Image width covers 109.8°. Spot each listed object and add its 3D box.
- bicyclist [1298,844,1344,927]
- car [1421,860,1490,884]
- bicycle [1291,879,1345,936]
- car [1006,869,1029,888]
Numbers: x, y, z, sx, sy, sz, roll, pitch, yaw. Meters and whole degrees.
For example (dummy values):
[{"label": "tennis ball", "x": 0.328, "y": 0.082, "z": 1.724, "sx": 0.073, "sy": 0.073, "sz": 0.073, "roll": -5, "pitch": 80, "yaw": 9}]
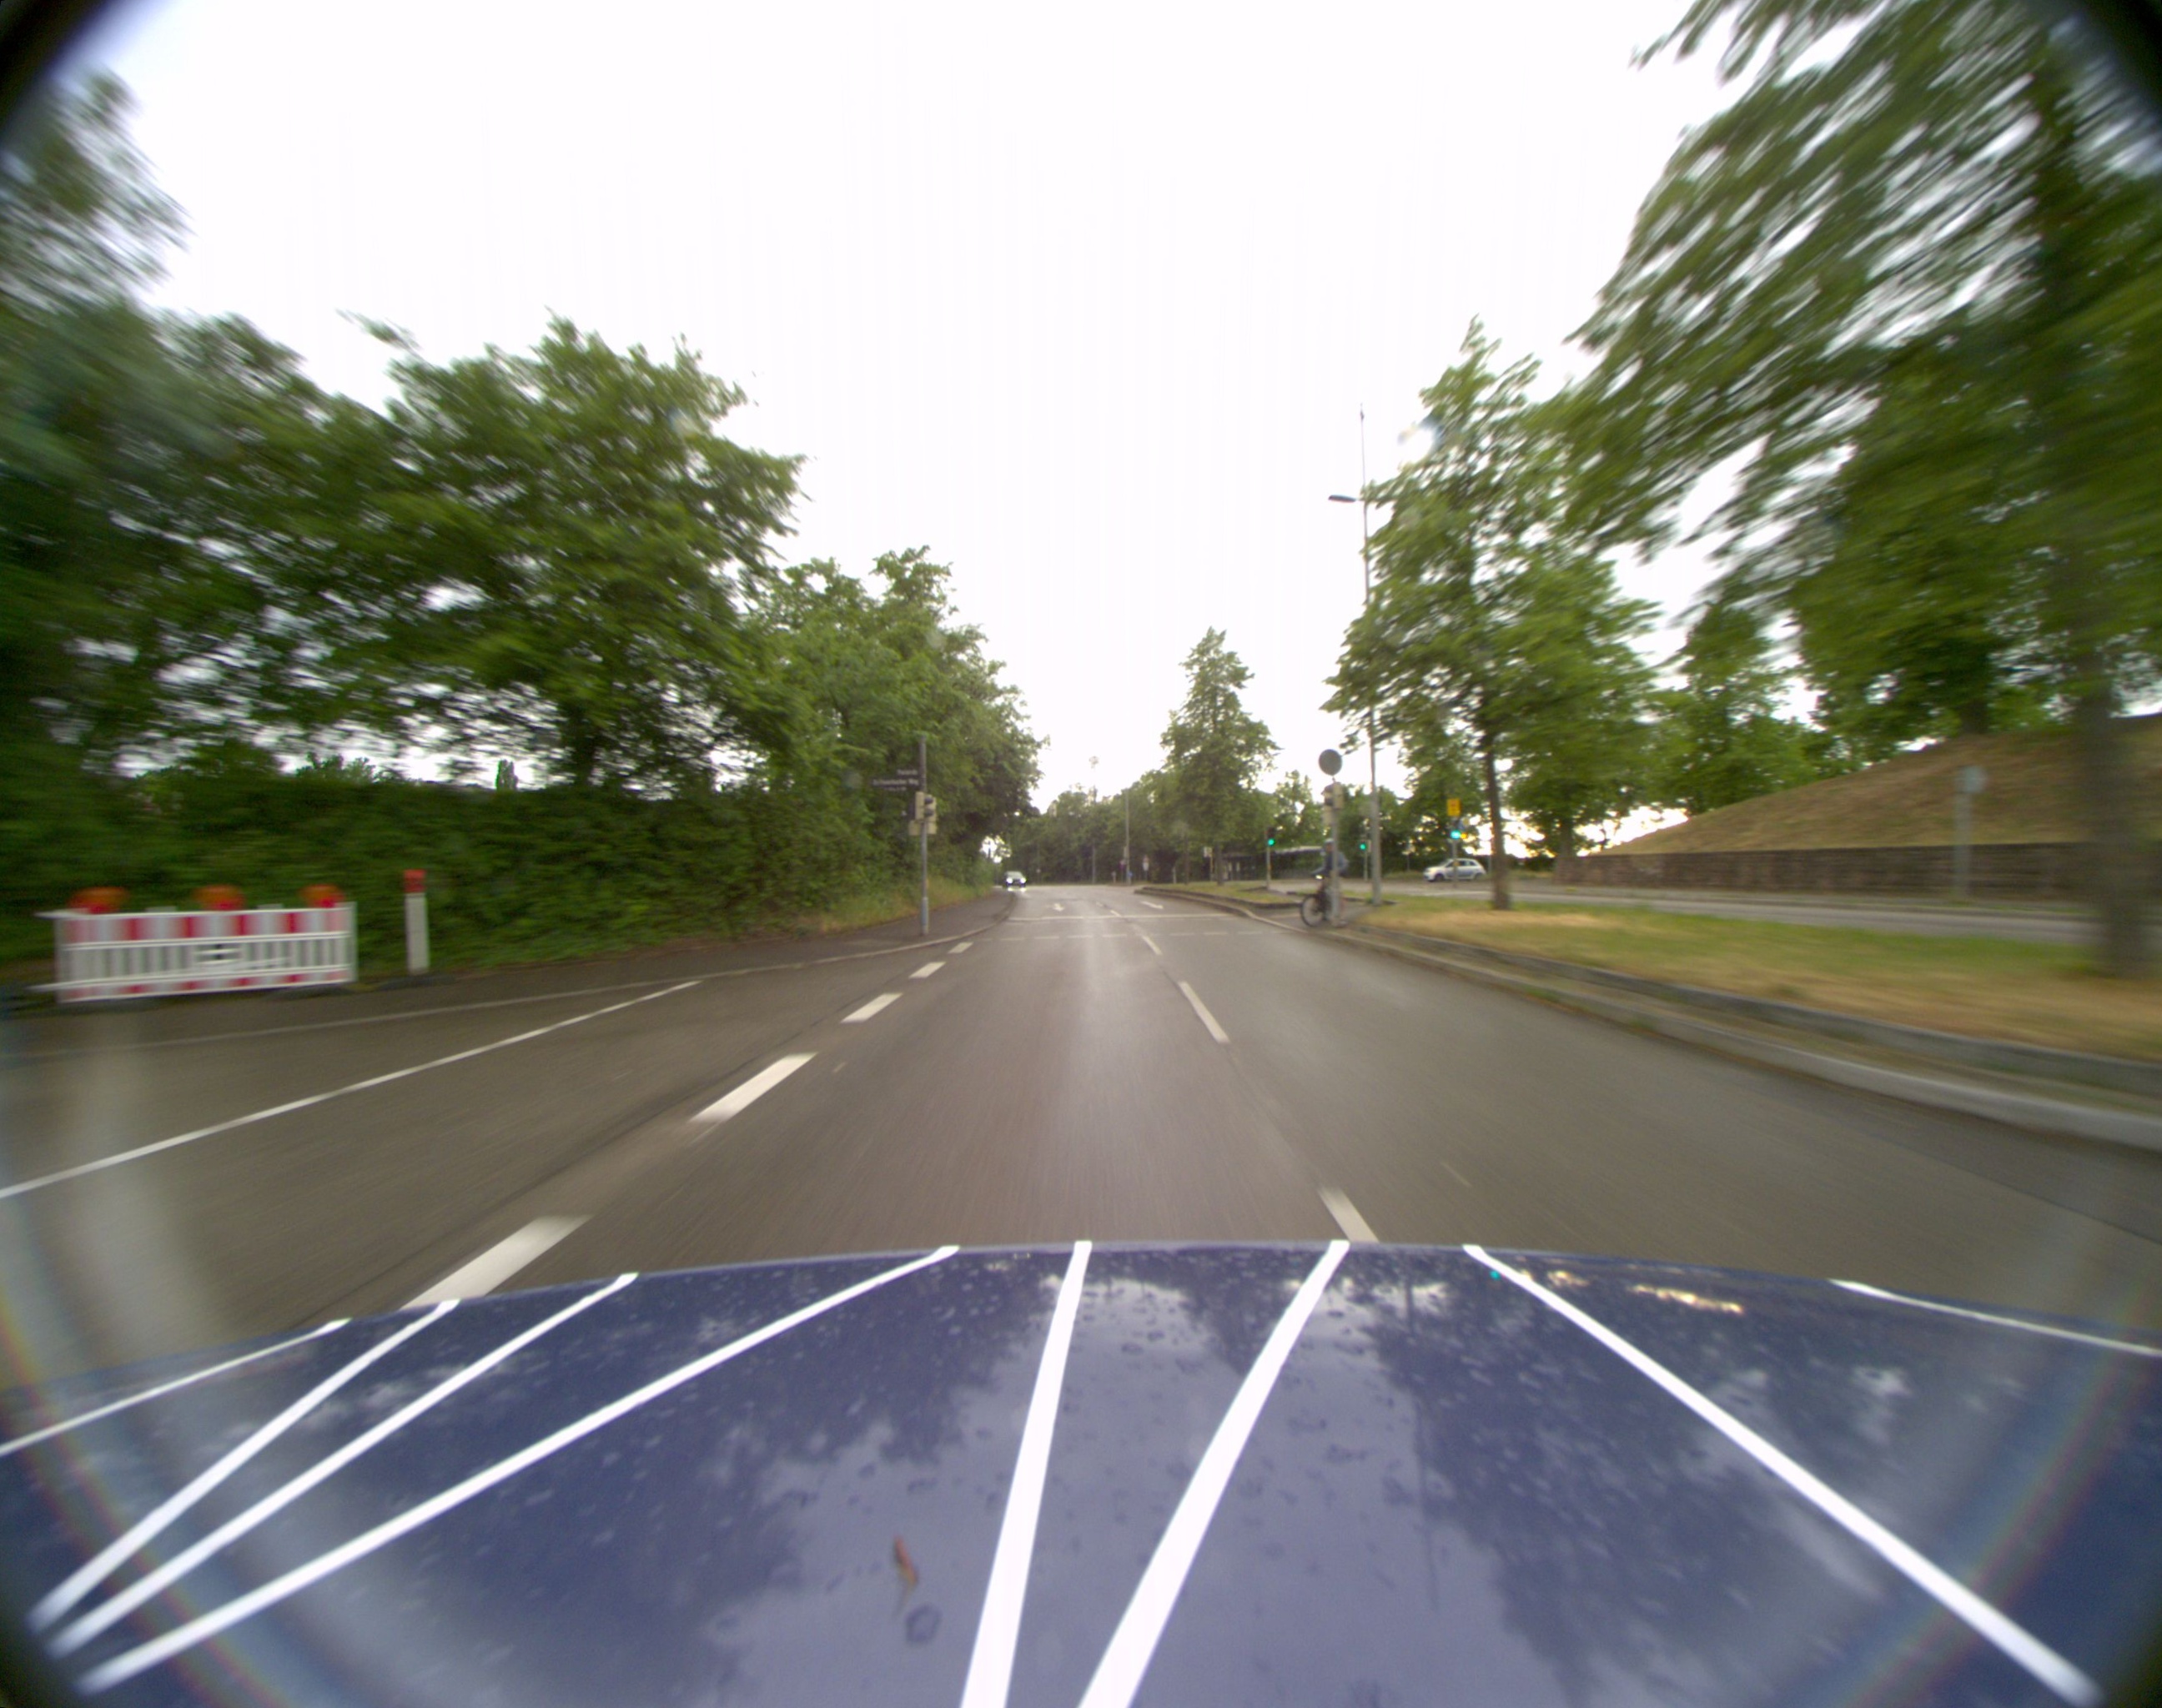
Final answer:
[{"label": "bicyclist", "x": 5.252, "y": 0.667, "z": 16.601, "sx": 0.723, "sy": 1.742, "sz": 0.803, "roll": 2, "pitch": 2, "yaw": 34}, {"label": "car", "x": 24.571, "y": 1.200, "z": 49.906, "sx": 3.692, "sy": 1.469, "sz": 1.763, "roll": -1, "pitch": 0, "yaw": 10}, {"label": "bicycle", "x": 5.315, "y": 1.155, "z": 16.945, "sx": 0.552, "sy": 1.136, "sz": 2.144, "roll": -1, "pitch": 0, "yaw": 34}, {"label": "car", "x": -5.738, "y": 2.255, "z": 68.530, "sx": 2.000, "sy": 1.576, "sz": 4.000, "roll": 2, "pitch": -3, "yaw": -6}]
